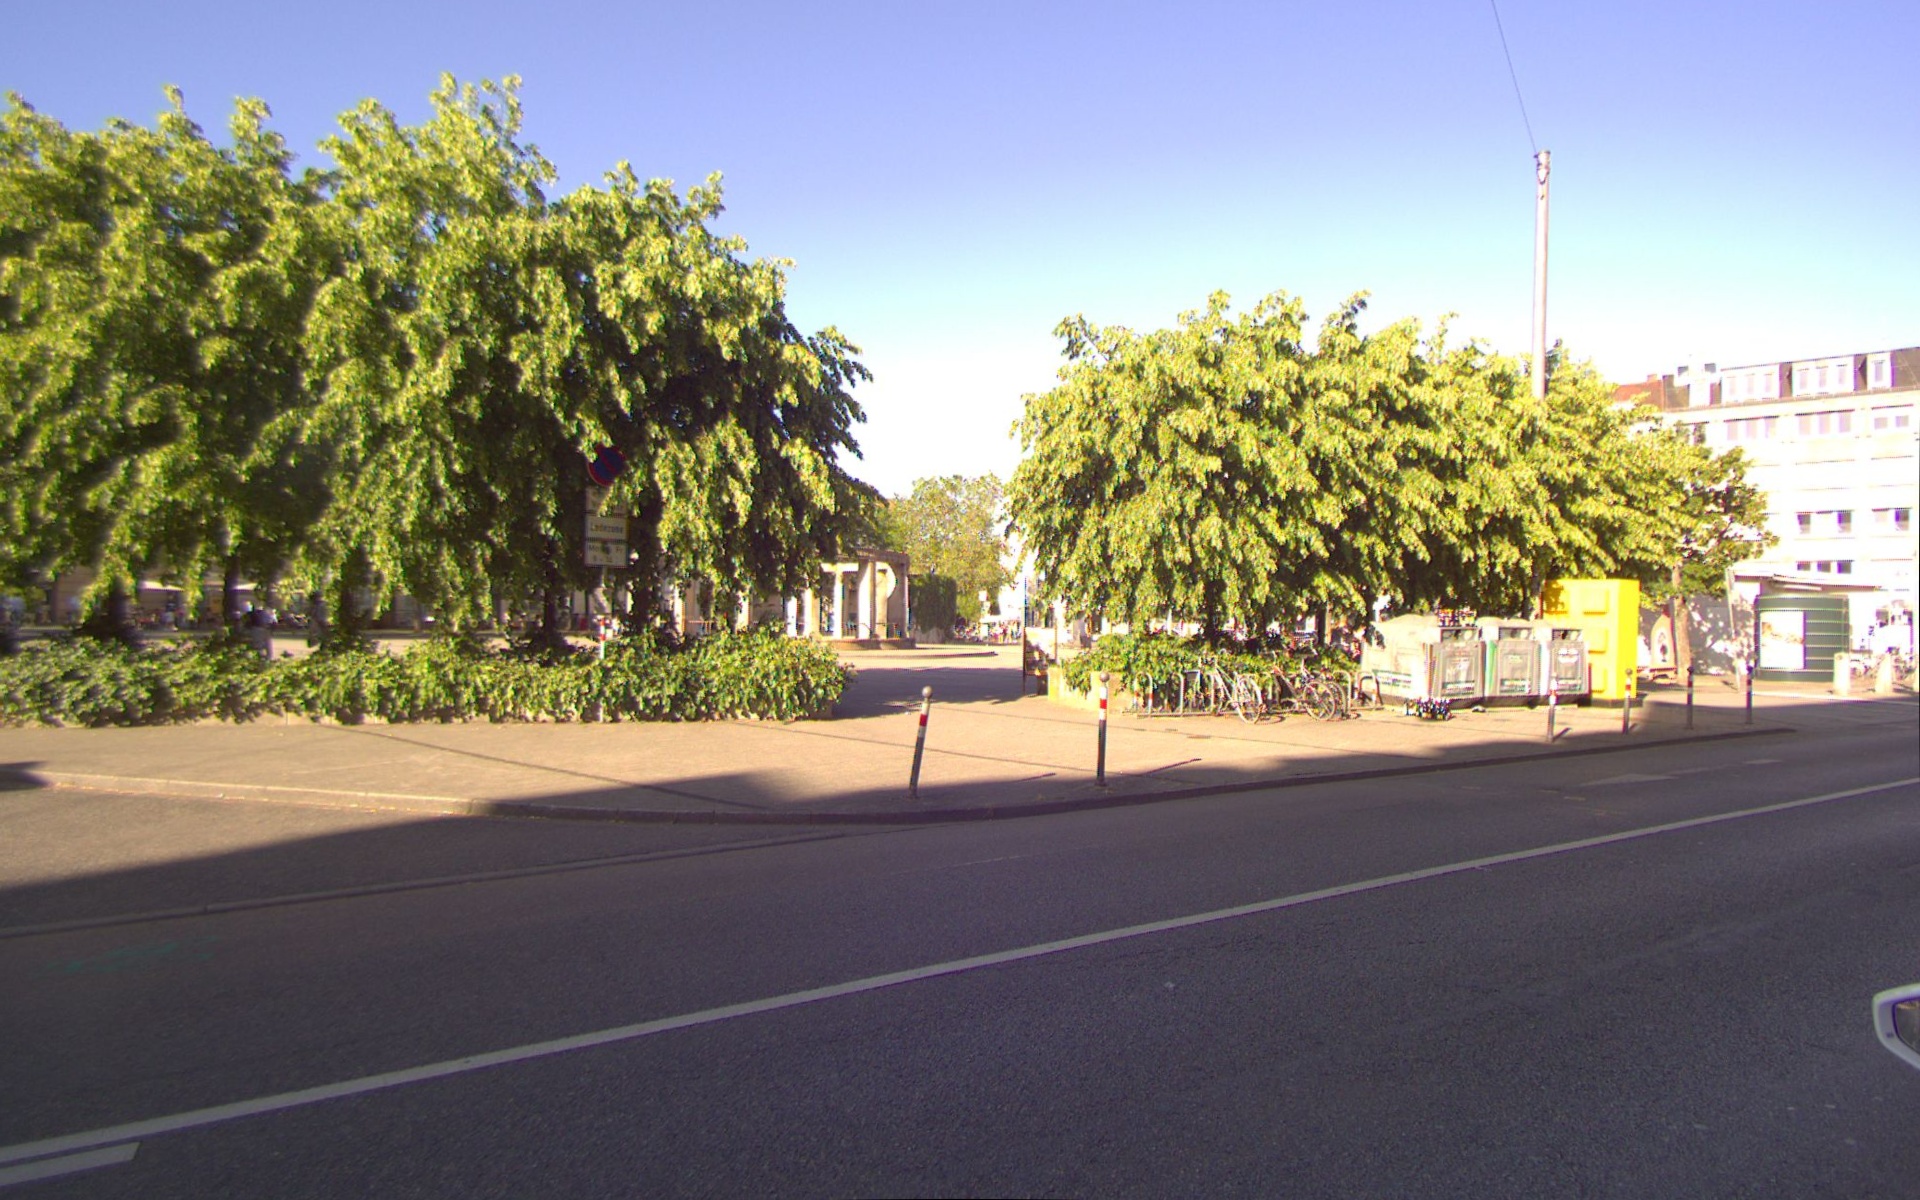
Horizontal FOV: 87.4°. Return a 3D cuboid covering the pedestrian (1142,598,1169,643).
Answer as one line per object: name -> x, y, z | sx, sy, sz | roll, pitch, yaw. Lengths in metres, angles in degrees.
pedestrian -> 8.889, 0.922, 45.708 | 0.875, 2.040, 0.896 | 1, 0, -17

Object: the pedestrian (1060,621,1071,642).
pedestrian -> 10.121, 3.026, 96.600 | 0.860, 2.040, 0.902 | 2, 0, -5

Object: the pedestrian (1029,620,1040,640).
pedestrian -> 7.956, 3.201, 107.346 | 0.861, 2.040, 0.901 | 2, 0, -9

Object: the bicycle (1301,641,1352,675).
bicycle -> 10.366, 1.645, 28.460 | 1.288, 0.879, 0.443 | 2, 0, 13

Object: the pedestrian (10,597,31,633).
pedestrian -> -45.718, 0.732, 48.898 | 0.599, 1.744, 0.644 | 2, 0, 39

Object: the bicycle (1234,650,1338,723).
bicycle -> 5.249, 1.370, 16.291 | 0.508, 1.016, 1.923 | 2, 0, -20

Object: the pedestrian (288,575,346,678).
pedestrian -> -10.661, 0.436, 16.669 | 0.615, 1.671, 0.654 | 2, 0, -16

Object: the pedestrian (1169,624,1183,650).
pedestrian -> 14.214, 2.428, 66.173 | 0.741, 1.740, 0.854 | 1, -1, 4

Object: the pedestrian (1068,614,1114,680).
pedestrian -> 4.176, 1.492, 32.051 | 0.967, 2.040, 1.042 | 2, 0, -42

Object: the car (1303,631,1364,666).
car -> 16.706, 2.140, 45.074 | 1.658, 1.405, 3.575 | 1, -1, 5

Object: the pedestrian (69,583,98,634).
pedestrian -> -30.157, 0.300, 34.553 | 0.599, 1.744, 0.644 | 2, 0, 41

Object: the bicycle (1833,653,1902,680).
bicycle -> 30.810, 2.249, 34.124 | 0.600, 0.802, 1.634 | 2, 0, -33

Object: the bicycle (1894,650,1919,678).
bicycle -> 34.977, 2.334, 36.190 | 0.599, 0.946, 1.854 | 2, 0, -30

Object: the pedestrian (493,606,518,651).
pedestrian -> -18.173, 1.143, 40.169 | 0.599, 1.744, 0.644 | 2, 0, 37

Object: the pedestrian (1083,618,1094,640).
pedestrian -> 12.762, 2.864, 99.678 | 0.860, 2.199, 0.902 | 2, 0, -5

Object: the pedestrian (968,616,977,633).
pedestrian -> 1.589, 3.061, 124.438 | 0.875, 2.040, 0.896 | 1, 0, -17

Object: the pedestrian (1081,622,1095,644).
pedestrian -> 12.002, 3.071, 94.165 | 0.887, 2.040, 0.875 | 2, 0, 33

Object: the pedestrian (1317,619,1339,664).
pedestrian -> 10.417, 1.174, 28.452 | 0.508, 1.234, 0.431 | 2, 0, 13

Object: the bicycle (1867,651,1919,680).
bicycle -> 33.027, 2.298, 35.112 | 0.599, 0.946, 1.855 | 1, -1, -30

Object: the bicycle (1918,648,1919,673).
bicycle -> 37.056, 2.328, 37.454 | 0.599, 0.946, 1.854 | 2, 0, -30

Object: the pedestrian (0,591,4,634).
pedestrian -> -39.729, 0.492, 41.227 | 0.600, 1.744, 0.643 | 2, 0, 45

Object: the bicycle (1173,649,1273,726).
bicycle -> 4.060, 1.329, 15.652 | 0.508, 1.029, 1.930 | 2, 0, -19

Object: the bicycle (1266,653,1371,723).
bicycle -> 5.816, 1.404, 16.413 | 0.508, 0.968, 1.898 | 2, 0, -20
